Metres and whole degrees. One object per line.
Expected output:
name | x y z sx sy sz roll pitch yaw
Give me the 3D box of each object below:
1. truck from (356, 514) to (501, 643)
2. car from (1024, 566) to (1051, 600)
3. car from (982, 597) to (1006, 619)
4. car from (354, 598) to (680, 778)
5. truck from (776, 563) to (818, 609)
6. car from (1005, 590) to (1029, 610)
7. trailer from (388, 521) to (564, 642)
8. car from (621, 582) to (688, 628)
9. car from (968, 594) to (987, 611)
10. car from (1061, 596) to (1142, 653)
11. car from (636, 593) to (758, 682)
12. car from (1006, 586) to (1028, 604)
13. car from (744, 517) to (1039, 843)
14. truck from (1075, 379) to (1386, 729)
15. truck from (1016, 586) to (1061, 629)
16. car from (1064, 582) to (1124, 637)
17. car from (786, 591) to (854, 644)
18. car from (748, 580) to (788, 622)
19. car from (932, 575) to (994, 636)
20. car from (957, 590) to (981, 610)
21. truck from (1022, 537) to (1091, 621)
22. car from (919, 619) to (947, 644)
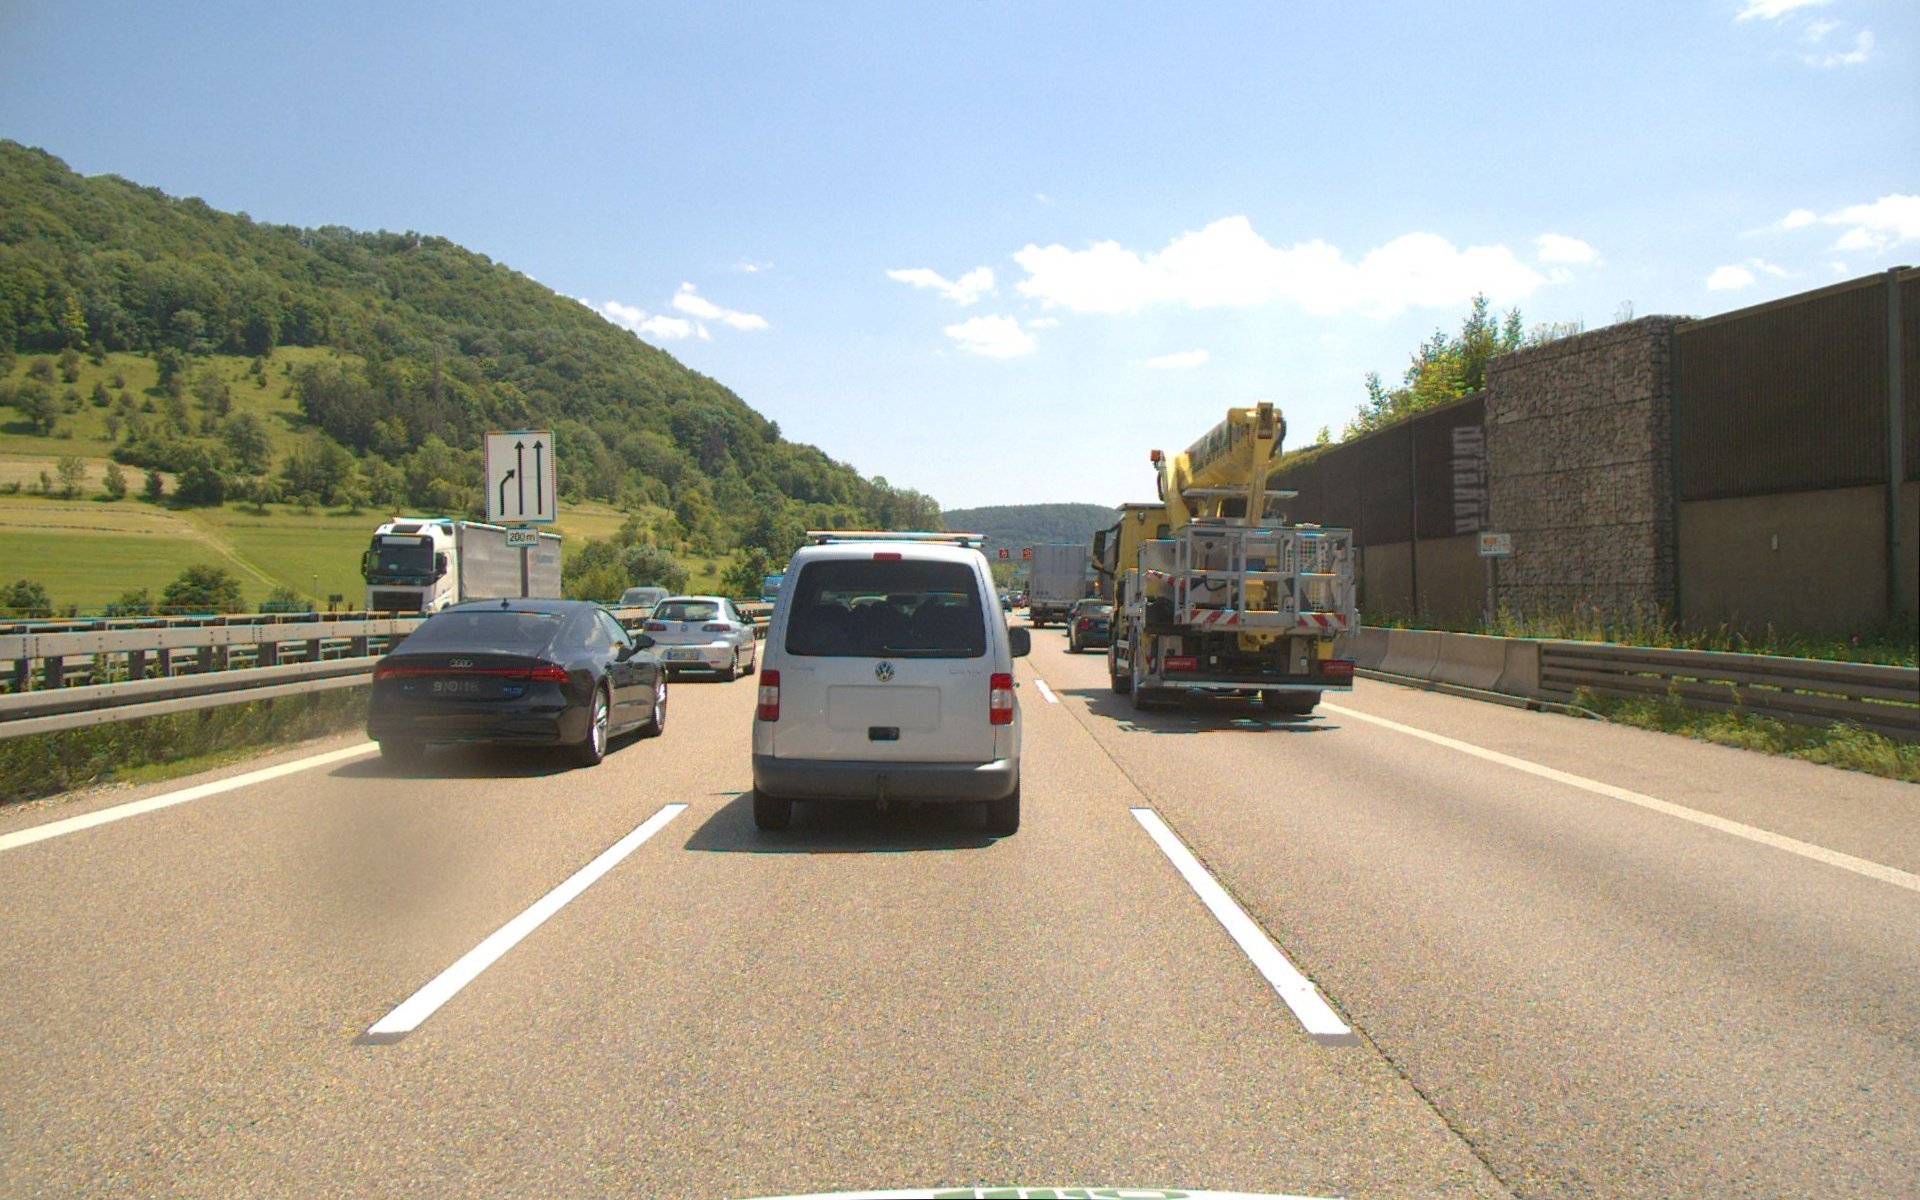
truck | -18.921 -0.697 59.402 2.740 4.306 7.231 1 0 0
car | 5.457 -1.170 117.319 1.640 2.335 3.999 1 0 -1
car | 2.830 0.641 139.214 1.952 1.779 4.000 1 0 1
car | -3.939 0.697 15.614 1.764 1.415 4.969 0 0 0
truck | -15.106 -1.260 153.905 3.211 4.220 6.955 1 0 0
car | 5.672 0.010 164.292 2.072 1.859 3.998 1 0 -3
trailer | -18.844 -0.614 65.654 2.796 4.264 13.615 1 0 0
car | -12.924 0.198 70.225 1.952 1.885 4.407 1 0 0
car | 1.895 0.286 178.541 1.953 1.837 3.999 1 0 -1
car | 3.845 0.635 45.428 1.750 1.484 3.769 0 0 -2
car | -4.579 0.615 29.220 1.661 1.470 3.860 0 0 -2
car | 6.208 -0.518 181.833 2.072 1.859 3.998 1 0 -3
car | -0.475 0.460 11.684 1.721 1.900 3.998 0 0 -2
truck | 3.427 -0.537 23.403 2.649 4.011 8.717 0 0 -2
truck | 4.834 0.468 102.858 2.341 2.585 5.938 0 0 -1
car | 5.155 0.350 64.162 1.953 2.049 3.999 0 0 -1
car | -4.252 0.510 50.692 1.886 1.525 3.998 1 0 -2
car | -13.969 0.104 120.882 2.111 2.912 6.399 1 0 0
car | 0.077 0.191 56.442 1.953 2.010 3.998 0 0 -2
car | 0.851 0.025 156.689 2.072 1.859 3.998 1 0 -3
truck | 4.648 -0.946 81.209 2.880 3.890 8.236 1 0 0
car | -2.120 2.435 130.001 2.071 1.859 4.000 1 0 0
